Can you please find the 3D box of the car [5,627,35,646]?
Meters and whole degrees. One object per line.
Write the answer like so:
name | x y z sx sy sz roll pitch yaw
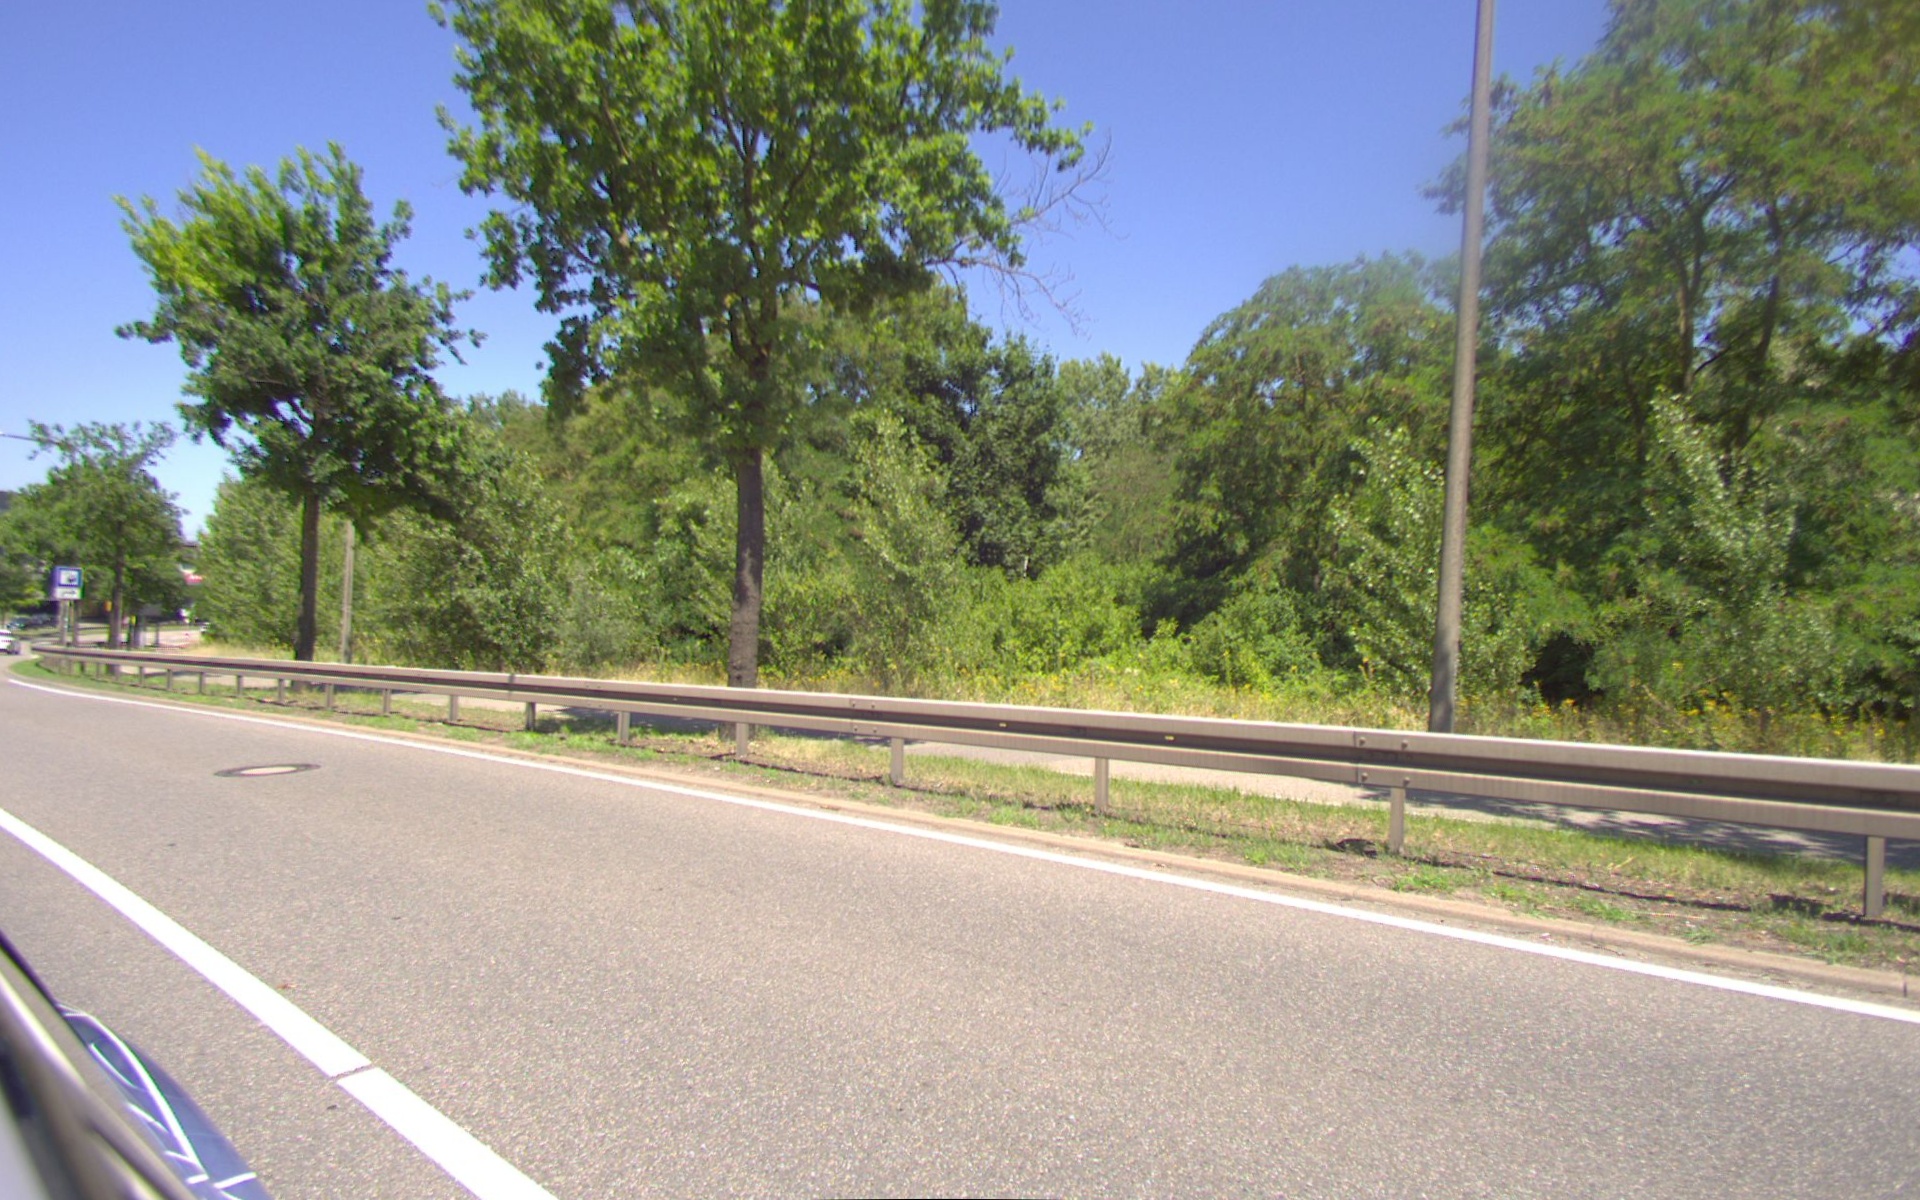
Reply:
car | -107.502 4.123 115.798 1.751 2.029 4.012 -1 0 -31

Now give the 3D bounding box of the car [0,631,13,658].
car | -55.438 2.559 57.827 1.753 1.454 4.006 -1 0 -40
